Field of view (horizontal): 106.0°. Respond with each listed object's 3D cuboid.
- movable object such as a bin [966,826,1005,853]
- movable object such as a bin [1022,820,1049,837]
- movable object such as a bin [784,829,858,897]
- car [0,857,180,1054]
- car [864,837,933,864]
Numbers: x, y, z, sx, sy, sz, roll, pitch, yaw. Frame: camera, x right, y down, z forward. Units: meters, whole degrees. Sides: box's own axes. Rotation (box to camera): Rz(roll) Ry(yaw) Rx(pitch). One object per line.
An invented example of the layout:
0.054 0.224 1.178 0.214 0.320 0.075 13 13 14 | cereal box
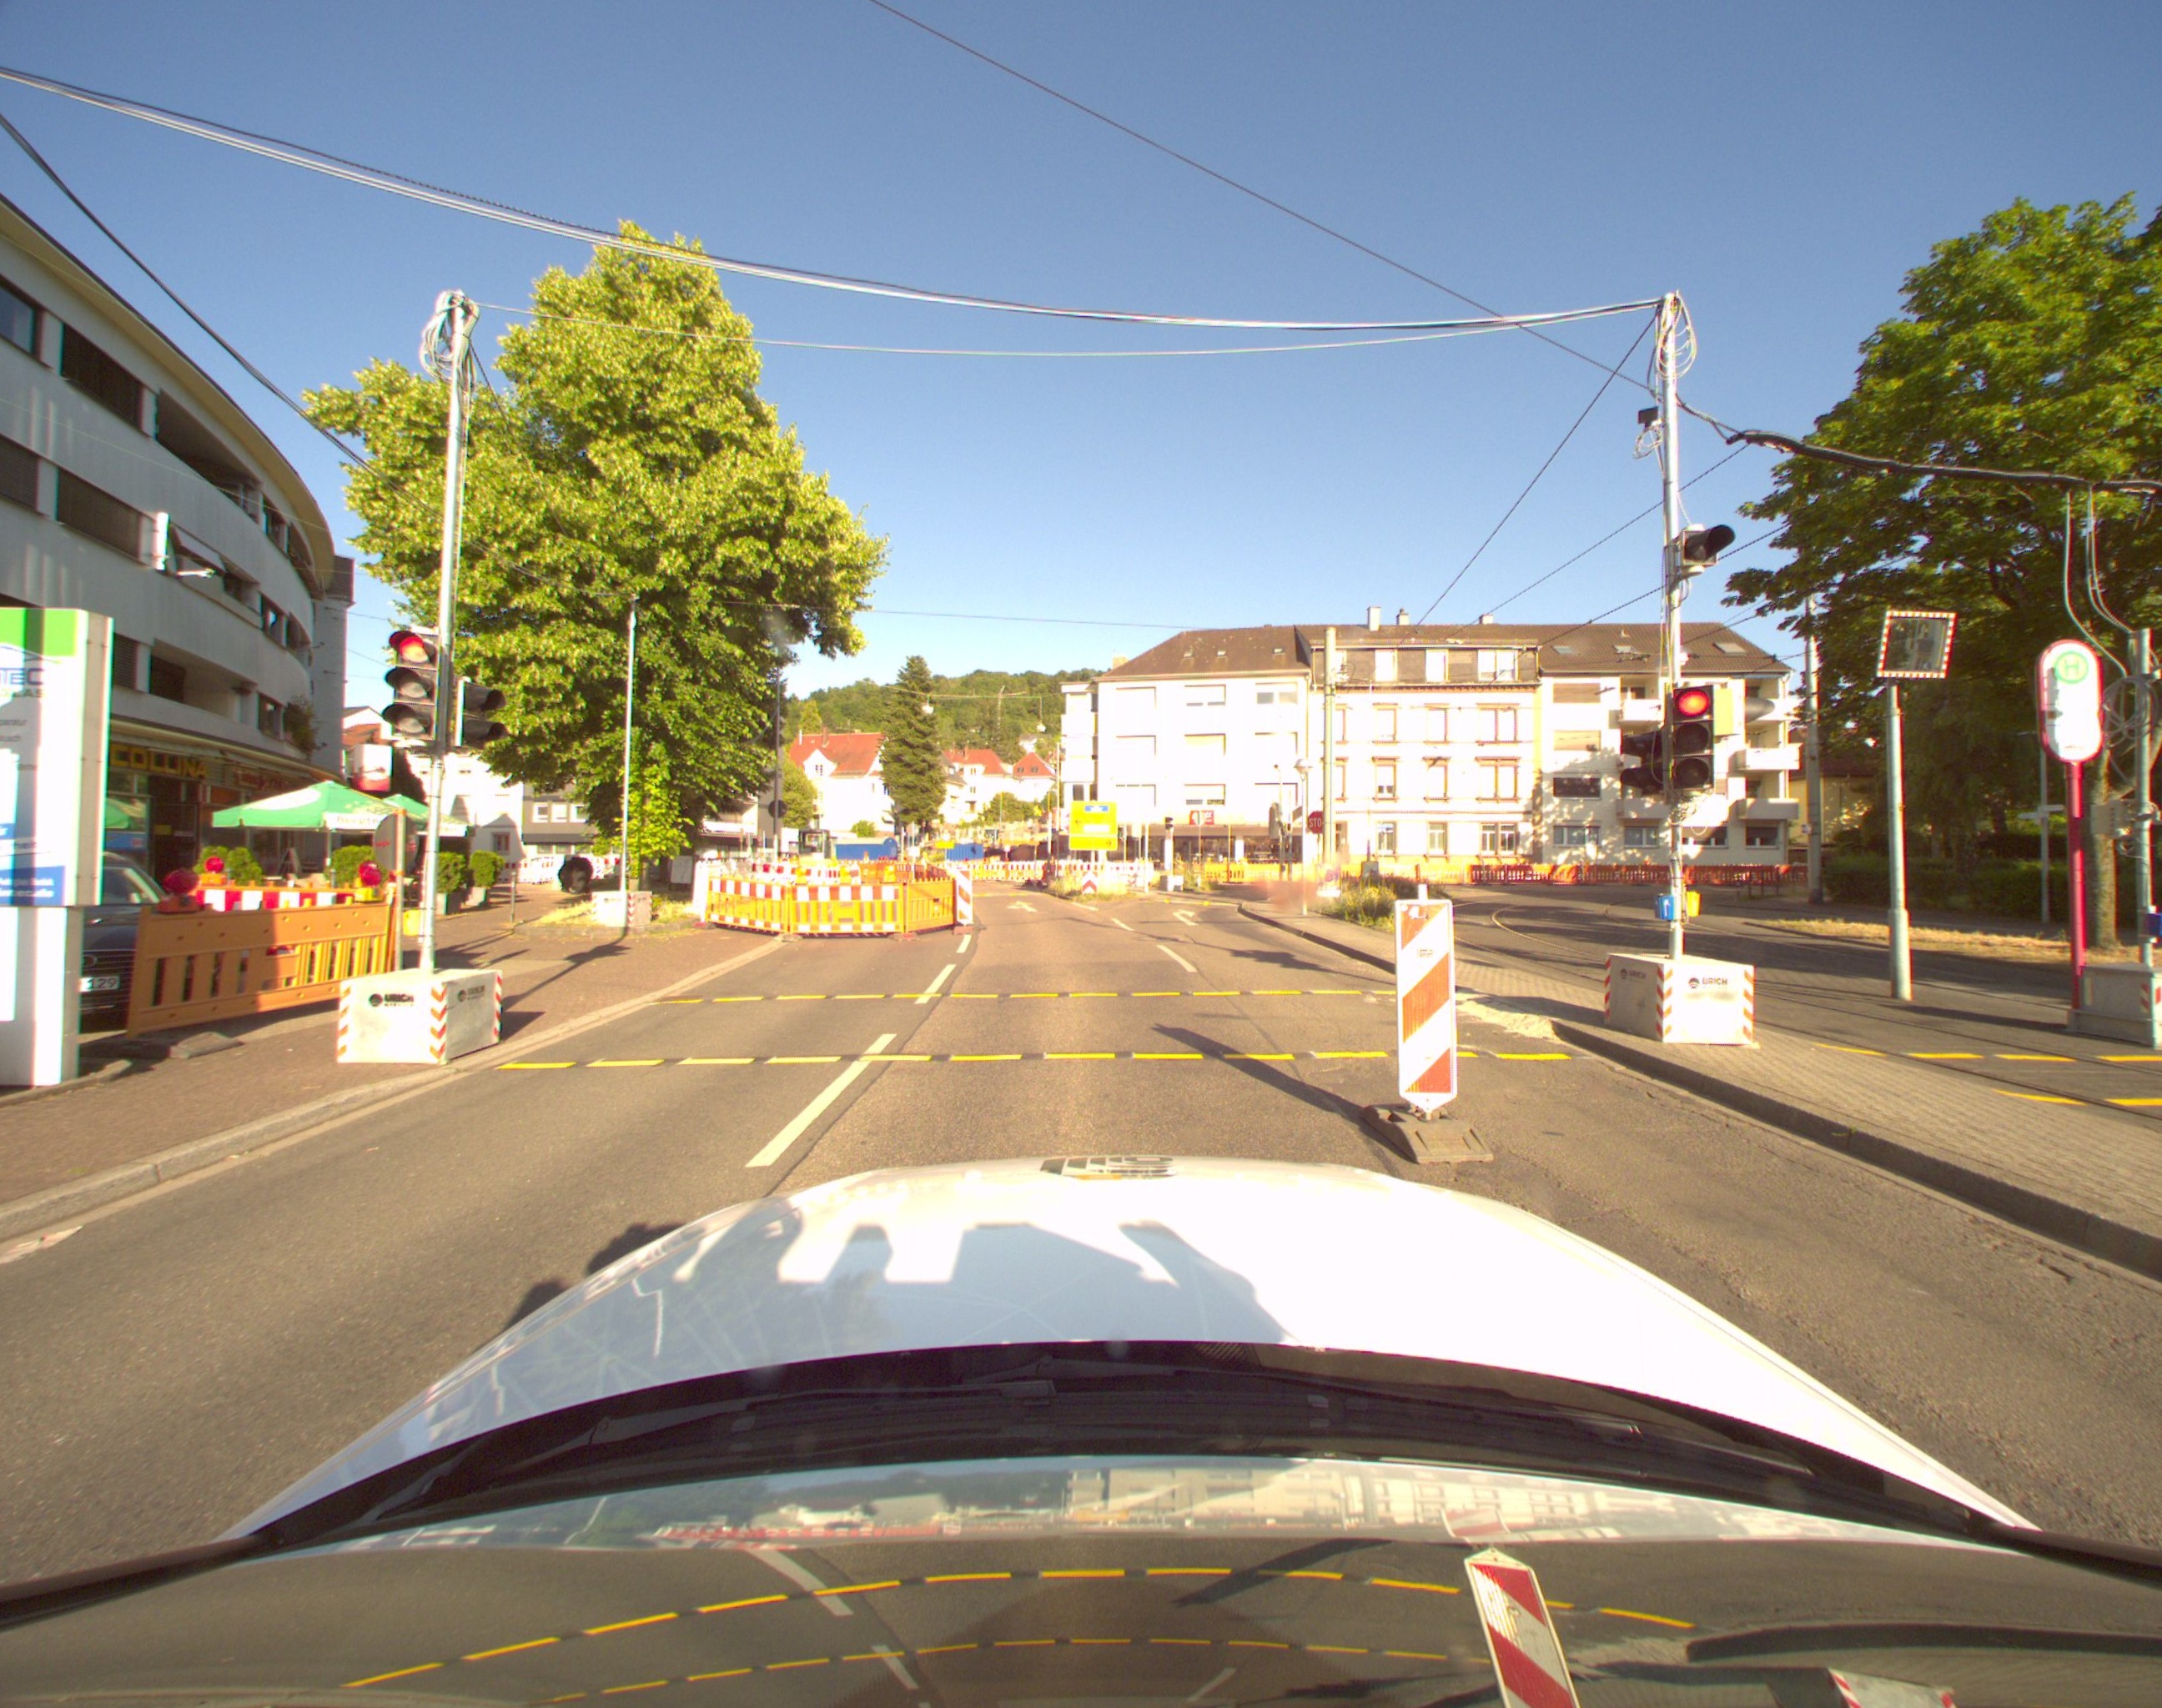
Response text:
-9.240 -1.351 79.406 1.932 2.494 4.574 -1 -1 20 | movable object such as a bin
-6.417 -3.598 115.306 2.549 2.122 5.801 -1 -1 11 | movable object such as a bin
-9.447 0.298 29.885 1.643 2.324 3.916 0 0 -3 | movable object such as a bin
-9.322 0.777 7.322 3.835 1.438 1.606 -1 0 42 | car
-14.847 -0.231 66.687 2.562 2.121 6.181 -1 -1 20 | car
